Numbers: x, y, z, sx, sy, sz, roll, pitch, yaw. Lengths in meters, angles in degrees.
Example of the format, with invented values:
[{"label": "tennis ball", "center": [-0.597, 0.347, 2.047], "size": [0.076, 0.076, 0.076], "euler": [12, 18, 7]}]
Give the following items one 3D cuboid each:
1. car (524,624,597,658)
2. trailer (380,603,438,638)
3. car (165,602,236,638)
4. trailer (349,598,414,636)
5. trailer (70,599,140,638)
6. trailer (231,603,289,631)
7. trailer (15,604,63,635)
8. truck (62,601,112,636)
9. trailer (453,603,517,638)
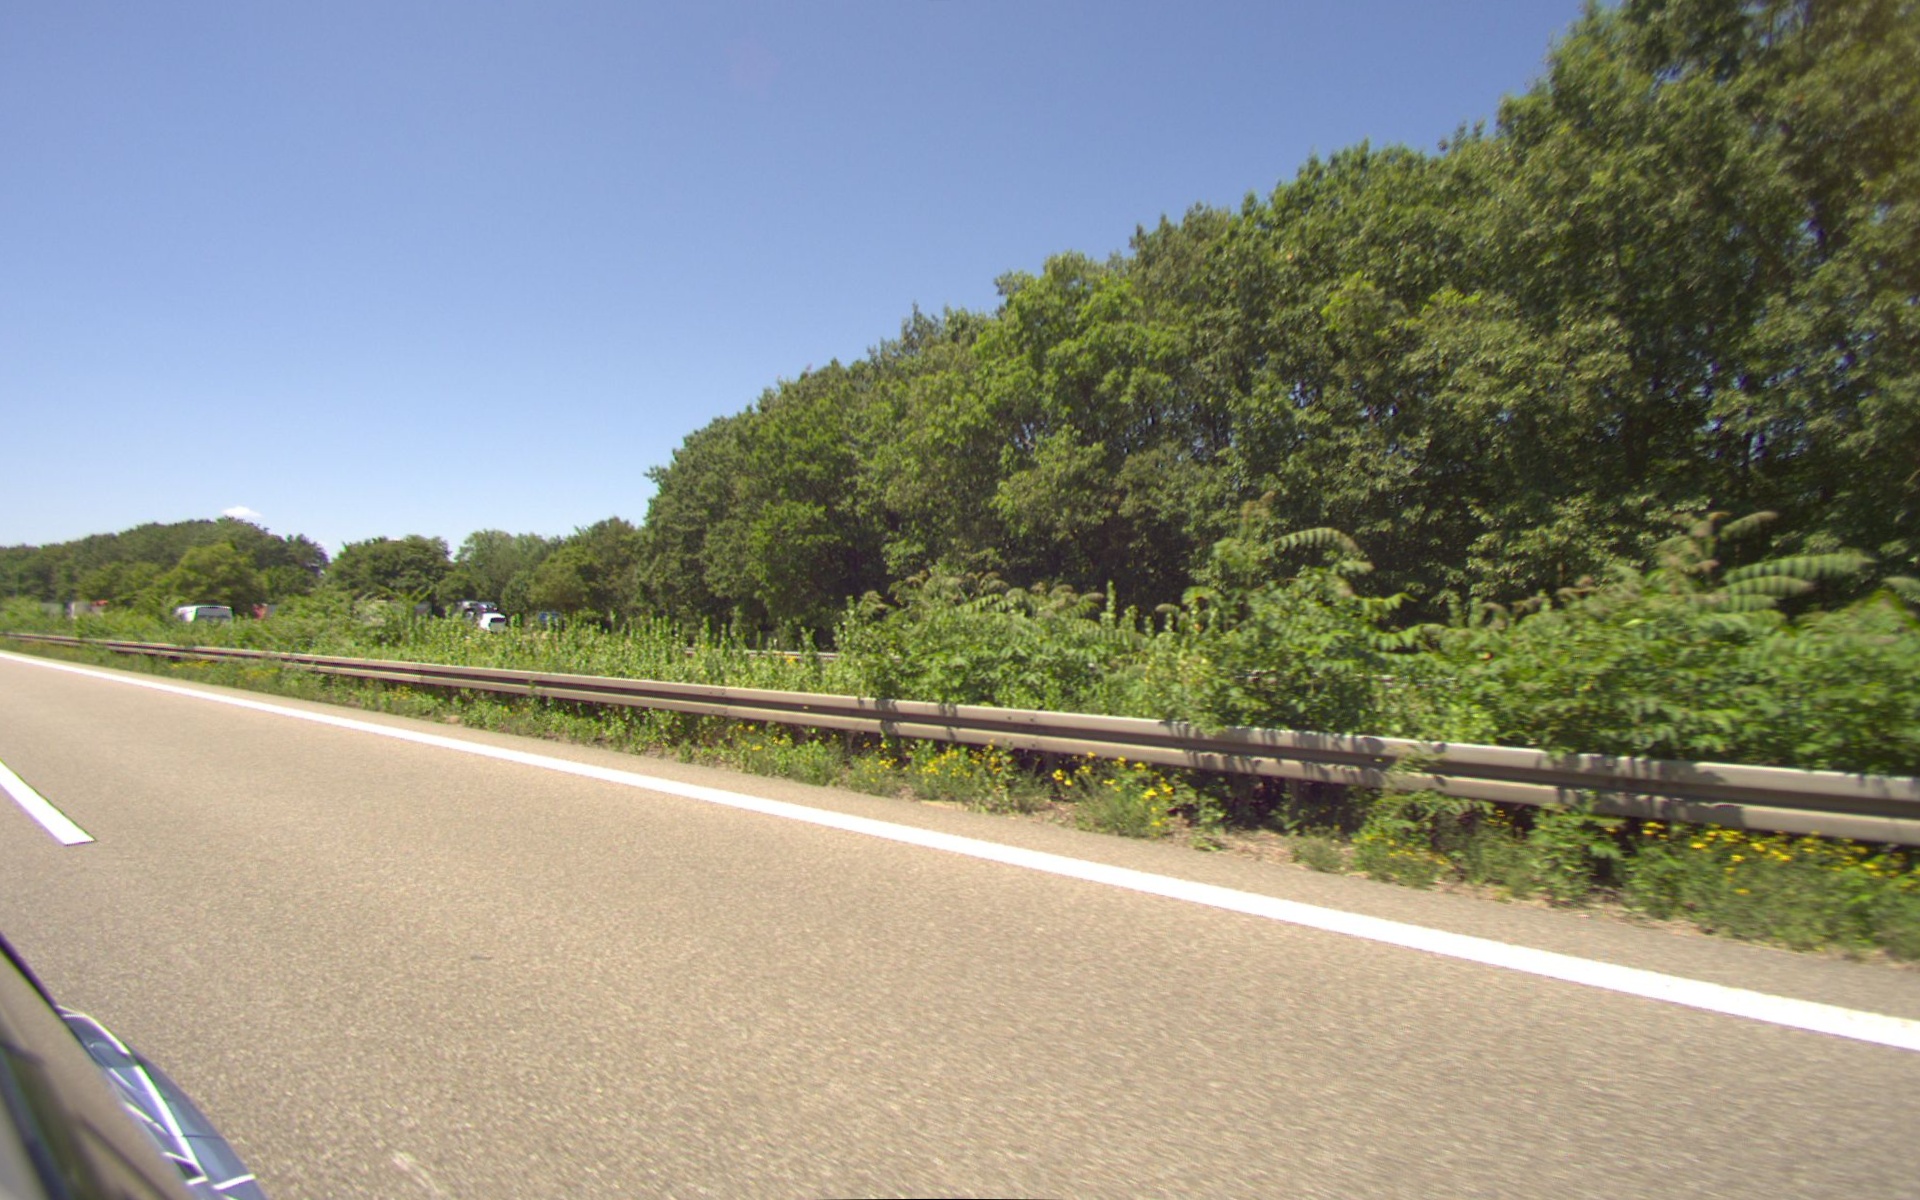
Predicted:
[{"label": "car", "center": [-21.021, 2.129, 53.175], "size": [3.998, 1.606, 1.951], "euler": [-1, 0, 41]}, {"label": "trailer", "center": [-76.781, 2.901, 140.820], "size": [3.558, 4.627, 14.035], "euler": [2, -2, -43]}, {"label": "car", "center": [-46.179, 1.192, 61.484], "size": [6.630, 2.070, 2.124], "euler": [-1, 0, 41]}, {"label": "trailer", "center": [-66.960, 1.914, 116.944], "size": [3.178, 4.167, 14.062], "euler": [-1, 0, -44]}, {"label": "trailer", "center": [-86.706, 1.850, 102.438], "size": [15.961, 3.607, 3.164], "euler": [-1, 0, 41]}, {"label": "trailer", "center": [-111.305, 2.760, 160.788], "size": [14.005, 4.296, 3.566], "euler": [-1, -2, 39]}, {"label": "trailer", "center": [-119.522, 2.518, 131.258], "size": [14.018, 3.854, 3.164], "euler": [-1, 0, 42]}, {"label": "truck", "center": [-93.715, 1.964, 108.631], "size": [6.993, 3.607, 3.164], "euler": [-1, 0, 41]}, {"label": "trailer", "center": [-52.995, 2.347, 112.642], "size": [3.554, 3.684, 14.053], "euler": [2, -2, -37]}]
